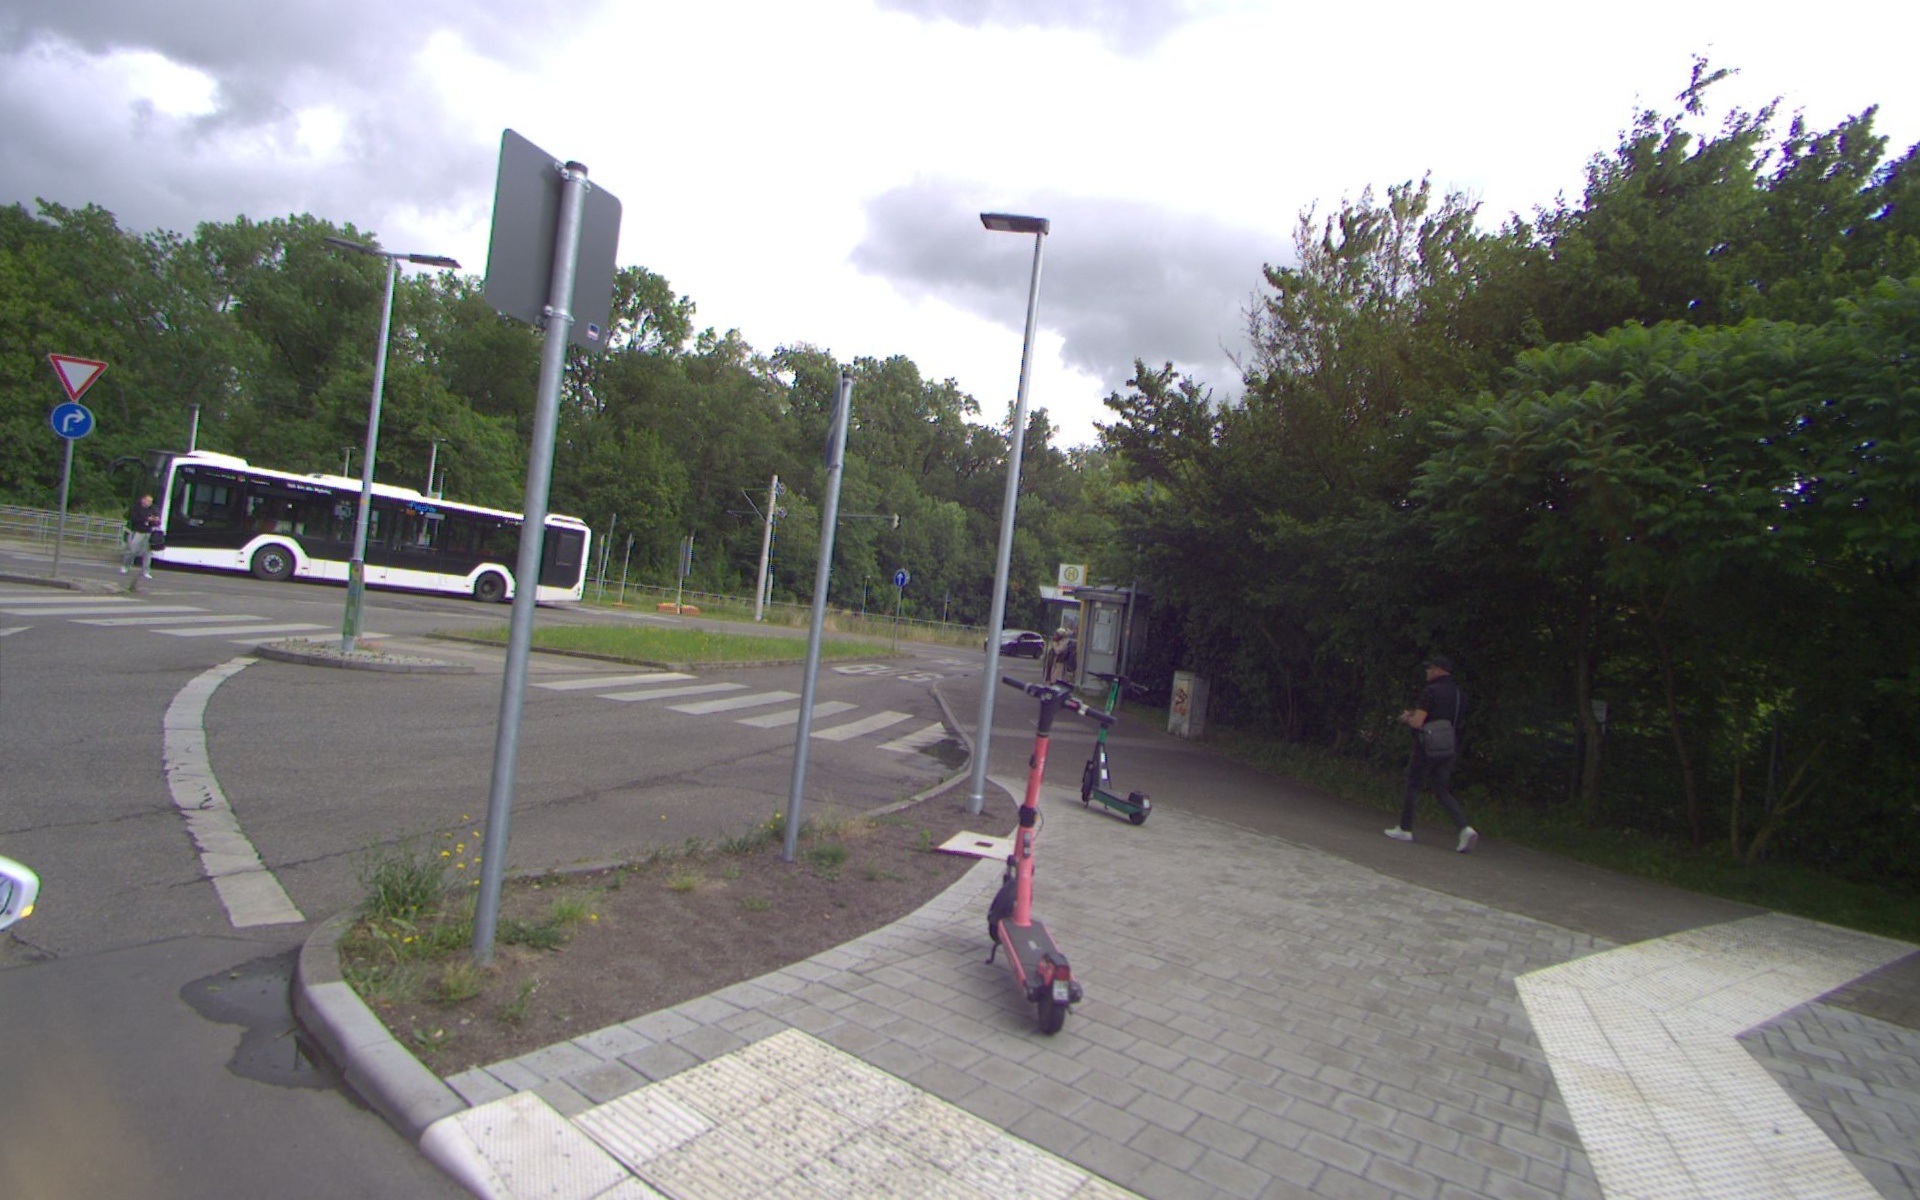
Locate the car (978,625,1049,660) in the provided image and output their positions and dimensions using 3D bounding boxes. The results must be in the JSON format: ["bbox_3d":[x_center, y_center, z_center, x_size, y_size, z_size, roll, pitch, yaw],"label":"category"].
[{"bbox_3d":[2.957,2.344,55.199,1.733,1.451,4.419,7,-1,34],"label":"car"}]

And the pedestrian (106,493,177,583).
[{"bbox_3d":[-17.676,-1.333,21.758,0.949,1.768,1.052,8,-1,-36],"label":"pedestrian"}]

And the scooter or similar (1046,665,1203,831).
[{"bbox_3d":[1.481,1.328,9.336,0.614,1.289,1.488,7,-2,-23],"label":"scooter or similar"}]

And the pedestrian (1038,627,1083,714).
[{"bbox_3d":[1.984,1.385,19.977,0.674,1.613,0.772,7,0,3],"label":"pedestrian"}]

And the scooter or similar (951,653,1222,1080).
[{"bbox_3d":[0.426,0.946,4.141,0.563,1.328,1.524,7,-1,-8],"label":"scooter or similar"}]

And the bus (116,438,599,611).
[{"bbox_3d":[-17.017,-1.889,30.075,2.633,3.241,12.166,7,-1,35],"label":"bus"}]

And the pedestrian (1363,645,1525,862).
[{"bbox_3d":[4.561,1.410,9.566,0.841,1.844,0.984,7,0,-2],"label":"pedestrian"}]
